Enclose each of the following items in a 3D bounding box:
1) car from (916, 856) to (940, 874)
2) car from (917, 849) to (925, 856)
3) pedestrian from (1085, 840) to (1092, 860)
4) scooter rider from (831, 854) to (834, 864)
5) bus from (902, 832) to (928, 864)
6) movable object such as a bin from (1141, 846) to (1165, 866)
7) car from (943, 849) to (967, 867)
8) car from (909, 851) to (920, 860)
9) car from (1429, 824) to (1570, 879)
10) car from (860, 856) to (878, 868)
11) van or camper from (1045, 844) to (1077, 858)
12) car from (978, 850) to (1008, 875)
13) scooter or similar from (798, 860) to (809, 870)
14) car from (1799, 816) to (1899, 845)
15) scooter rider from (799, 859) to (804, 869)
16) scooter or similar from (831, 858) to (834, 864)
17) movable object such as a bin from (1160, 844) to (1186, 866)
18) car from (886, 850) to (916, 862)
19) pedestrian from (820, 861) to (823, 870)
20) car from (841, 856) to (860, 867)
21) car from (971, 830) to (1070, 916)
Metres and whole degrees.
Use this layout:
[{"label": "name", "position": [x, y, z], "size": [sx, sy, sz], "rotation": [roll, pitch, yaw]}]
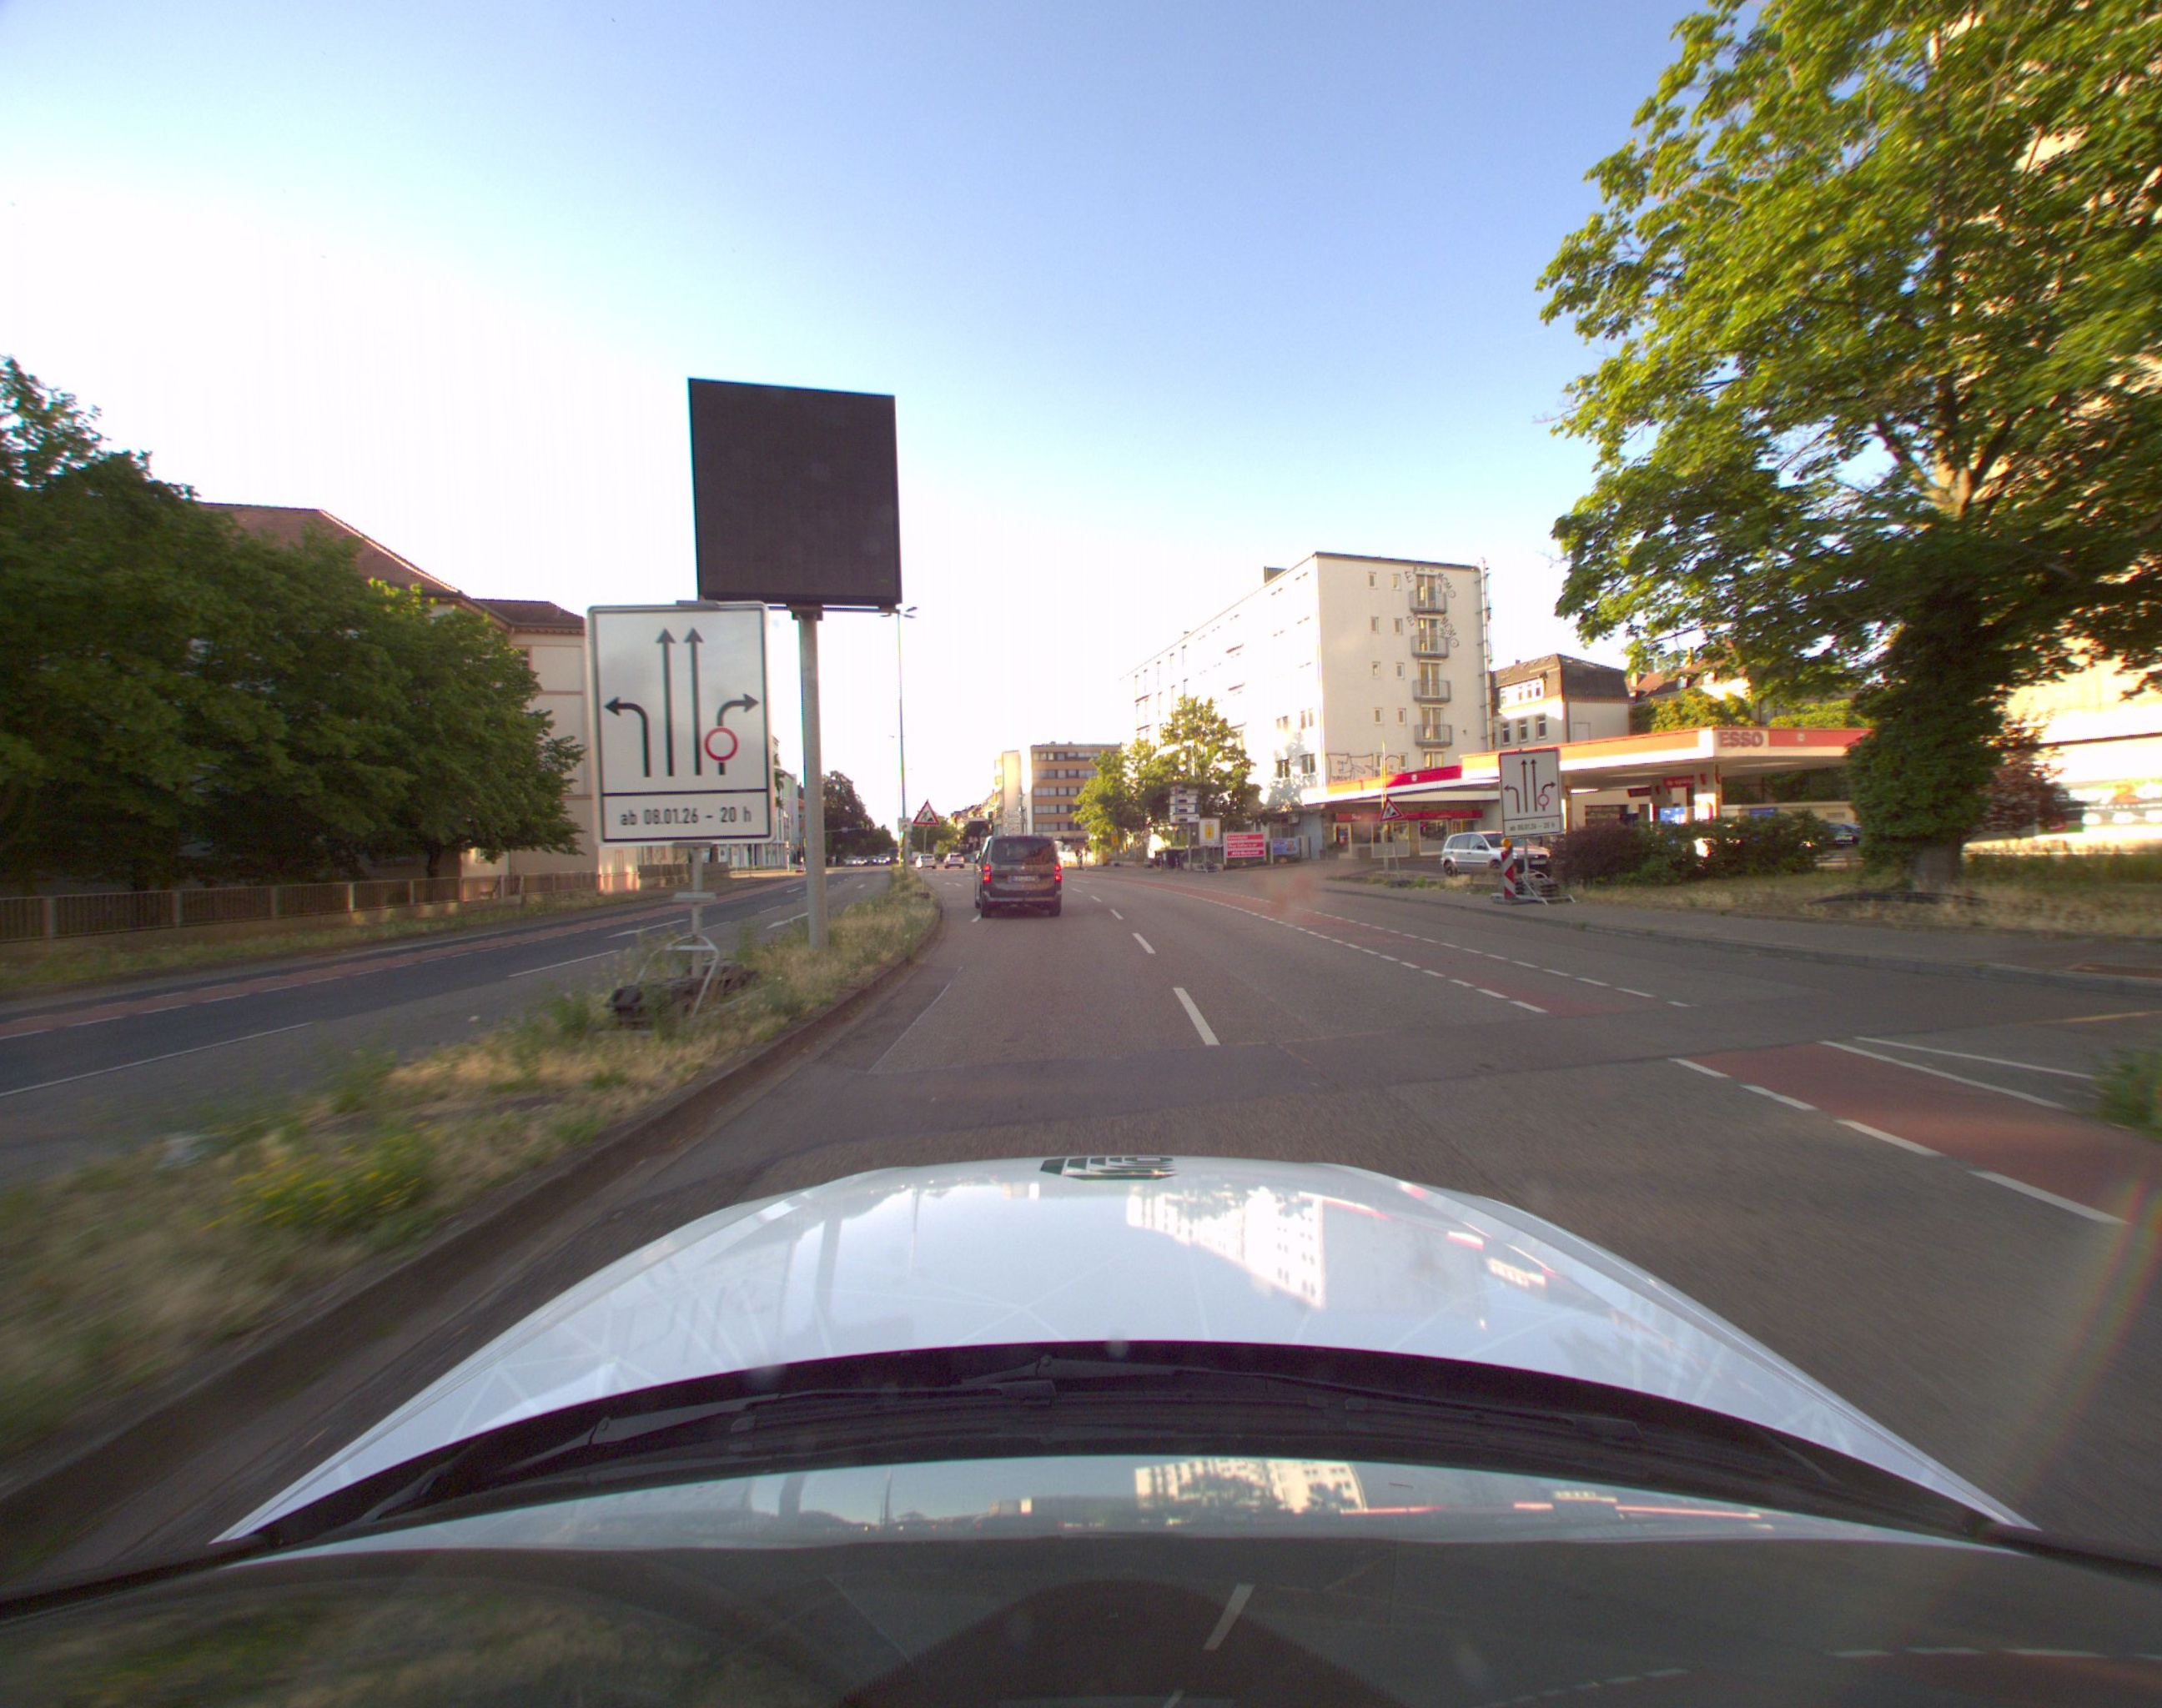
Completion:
[{"label": "car", "position": [-15.348, 1.034, 81.469], "size": [1.997, 1.656, 4.277], "rotation": [-2, 1, -15]}, {"label": "car", "position": [-44.856, -0.384, 227.819], "size": [1.853, 1.708, 3.704], "rotation": [-2, 0, -17]}, {"label": "pedestrian", "position": [0.801, -0.373, 81.859], "size": [0.491, 2.013, 0.661], "rotation": [-2, 0, -13]}, {"label": "scooter rider", "position": [-37.058, 0.744, 121.349], "size": [0.355, 1.373, 0.336], "rotation": [-2, 0, -12]}, {"label": "bus", "position": [-25.099, -0.823, 122.748], "size": [3.296, 4.617, 9.948], "rotation": [-1, 0, -15]}, {"label": "movable object such as a bin", "position": [5.252, 0.110, 59.477], "size": [1.460, 1.386, 1.545], "rotation": [-2, 0, -4]}, {"label": "car", "position": [-12.833, 0.412, 82.712], "size": [1.997, 1.656, 4.277], "rotation": [-2, 1, -15]}, {"label": "car", "position": [-35.728, 0.326, 174.384], "size": [1.853, 1.708, 3.704], "rotation": [-2, 0, -17]}, {"label": "car", "position": [13.007, -0.082, 25.661], "size": [1.771, 1.530, 4.340], "rotation": [-2, 0, -8]}, {"label": "car", "position": [-32.949, 1.223, 126.677], "size": [1.991, 1.595, 3.993], "rotation": [-2, 1, -5]}, {"label": "van or camper", "position": [-3.100, -0.521, 126.323], "size": [4.566, 2.013, 1.993], "rotation": [-2, 0, -11]}, {"label": "car", "position": [-5.841, 0.526, 54.310], "size": [1.843, 1.544, 3.625], "rotation": [-2, 1, -5]}, {"label": "scooter or similar", "position": [-29.414, 1.161, 86.349], "size": [1.103, 0.976, 0.555], "rotation": [-1, 0, -22]}, {"label": "car", "position": [39.409, -1.186, 41.875], "size": [1.572, 1.381, 3.421], "rotation": [-2, 1, -14]}, {"label": "scooter rider", "position": [-29.629, 1.054, 86.268], "size": [0.511, 1.036, 0.443], "rotation": [-1, 0, -23]}, {"label": "scooter or similar", "position": [-37.042, 1.035, 121.340], "size": [0.358, 0.895, 0.901], "rotation": [-2, 0, -11]}, {"label": "movable object such as a bin", "position": [6.353, 0.068, 56.196], "size": [1.460, 1.454, 1.545], "rotation": [-2, 0, -4]}, {"label": "car", "position": [-25.962, 0.305, 117.281], "size": [4.000, 1.595, 1.987], "rotation": [-2, 1, -20]}, {"label": "pedestrian", "position": [-38.938, 1.777, 122.384], "size": [0.354, 1.290, 0.378], "rotation": [-2, 0, -12]}, {"label": "car", "position": [-35.628, 1.175, 125.868], "size": [1.991, 1.595, 3.993], "rotation": [-2, 1, -5]}, {"label": "car", "position": [-1.628, 0.403, 20.272], "size": [1.994, 1.900, 4.283], "rotation": [0, 0, -11]}]
